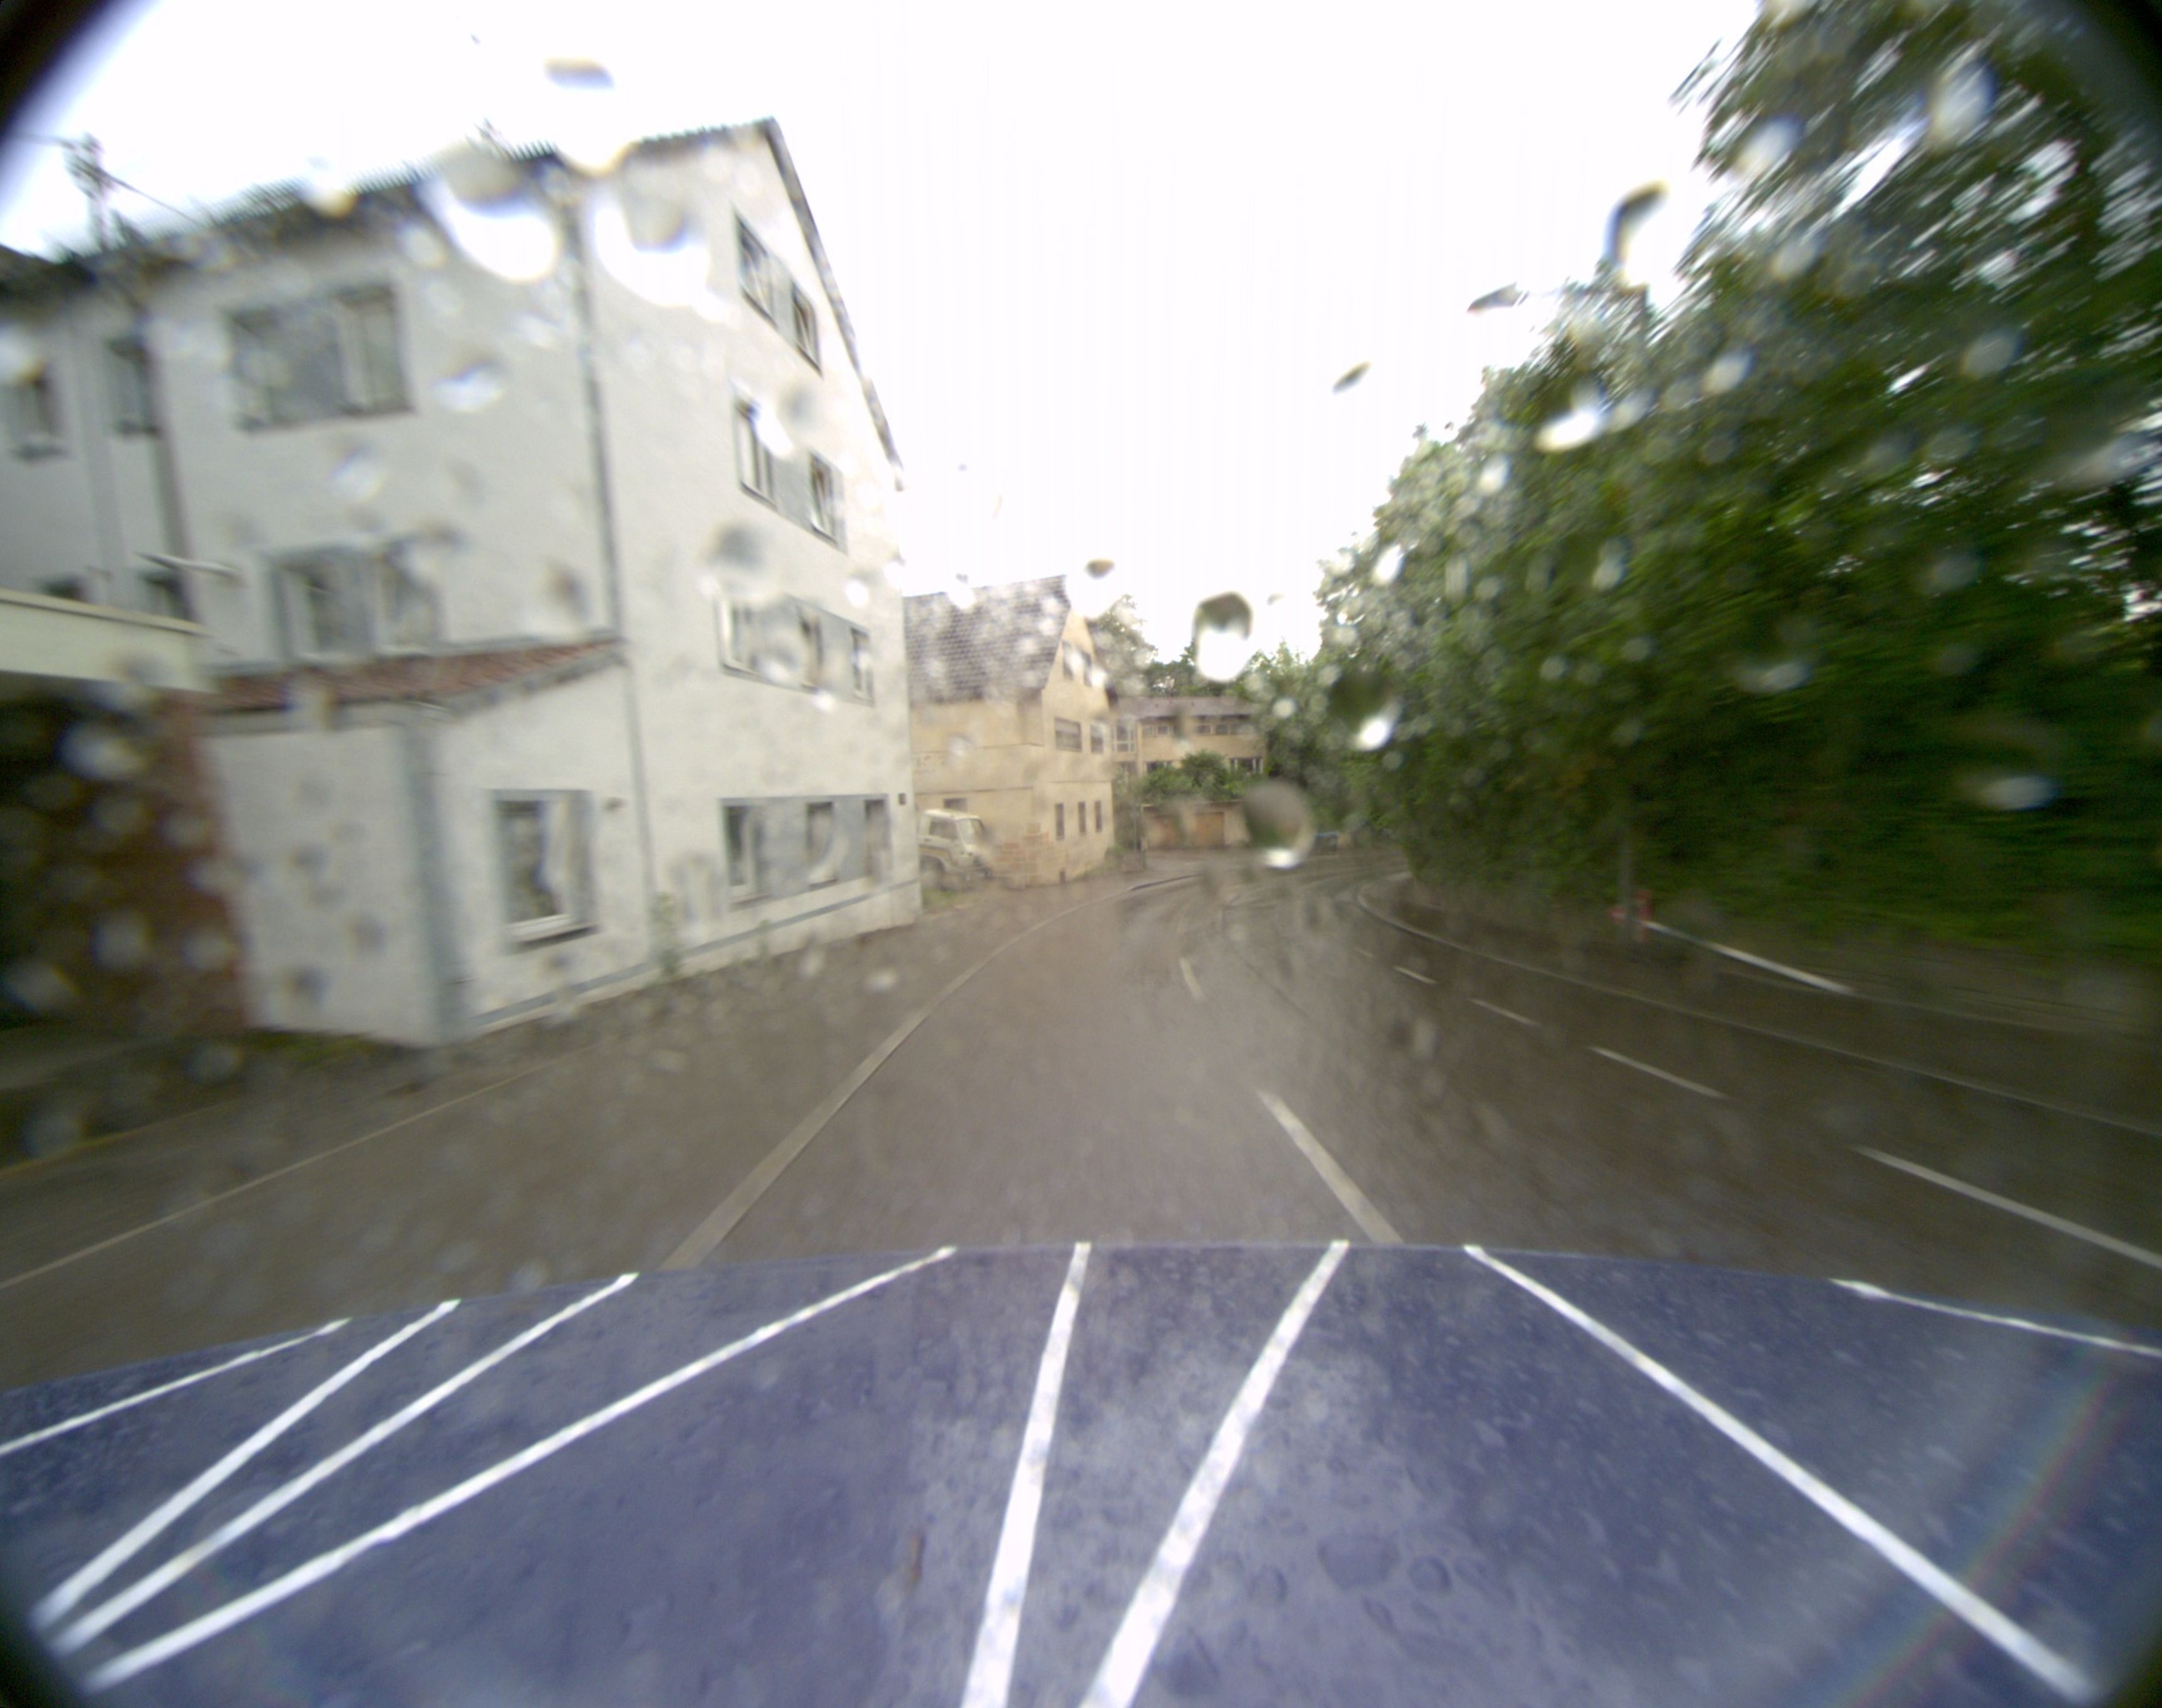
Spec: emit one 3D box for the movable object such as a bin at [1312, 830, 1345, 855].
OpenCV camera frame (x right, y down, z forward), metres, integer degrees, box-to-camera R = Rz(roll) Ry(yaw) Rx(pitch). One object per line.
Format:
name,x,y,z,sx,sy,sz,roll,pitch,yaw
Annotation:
movable object such as a bin,15.592,-0.743,47.858,1.486,1.403,1.156,-1,7,-20

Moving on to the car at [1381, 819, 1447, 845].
car,25.687,-1.719,58.843,2.002,1.546,4.551,-2,8,-21

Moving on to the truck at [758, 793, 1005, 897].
truck,-6.015,-0.323,23.017,6.965,2.688,2.142,3,2,14
